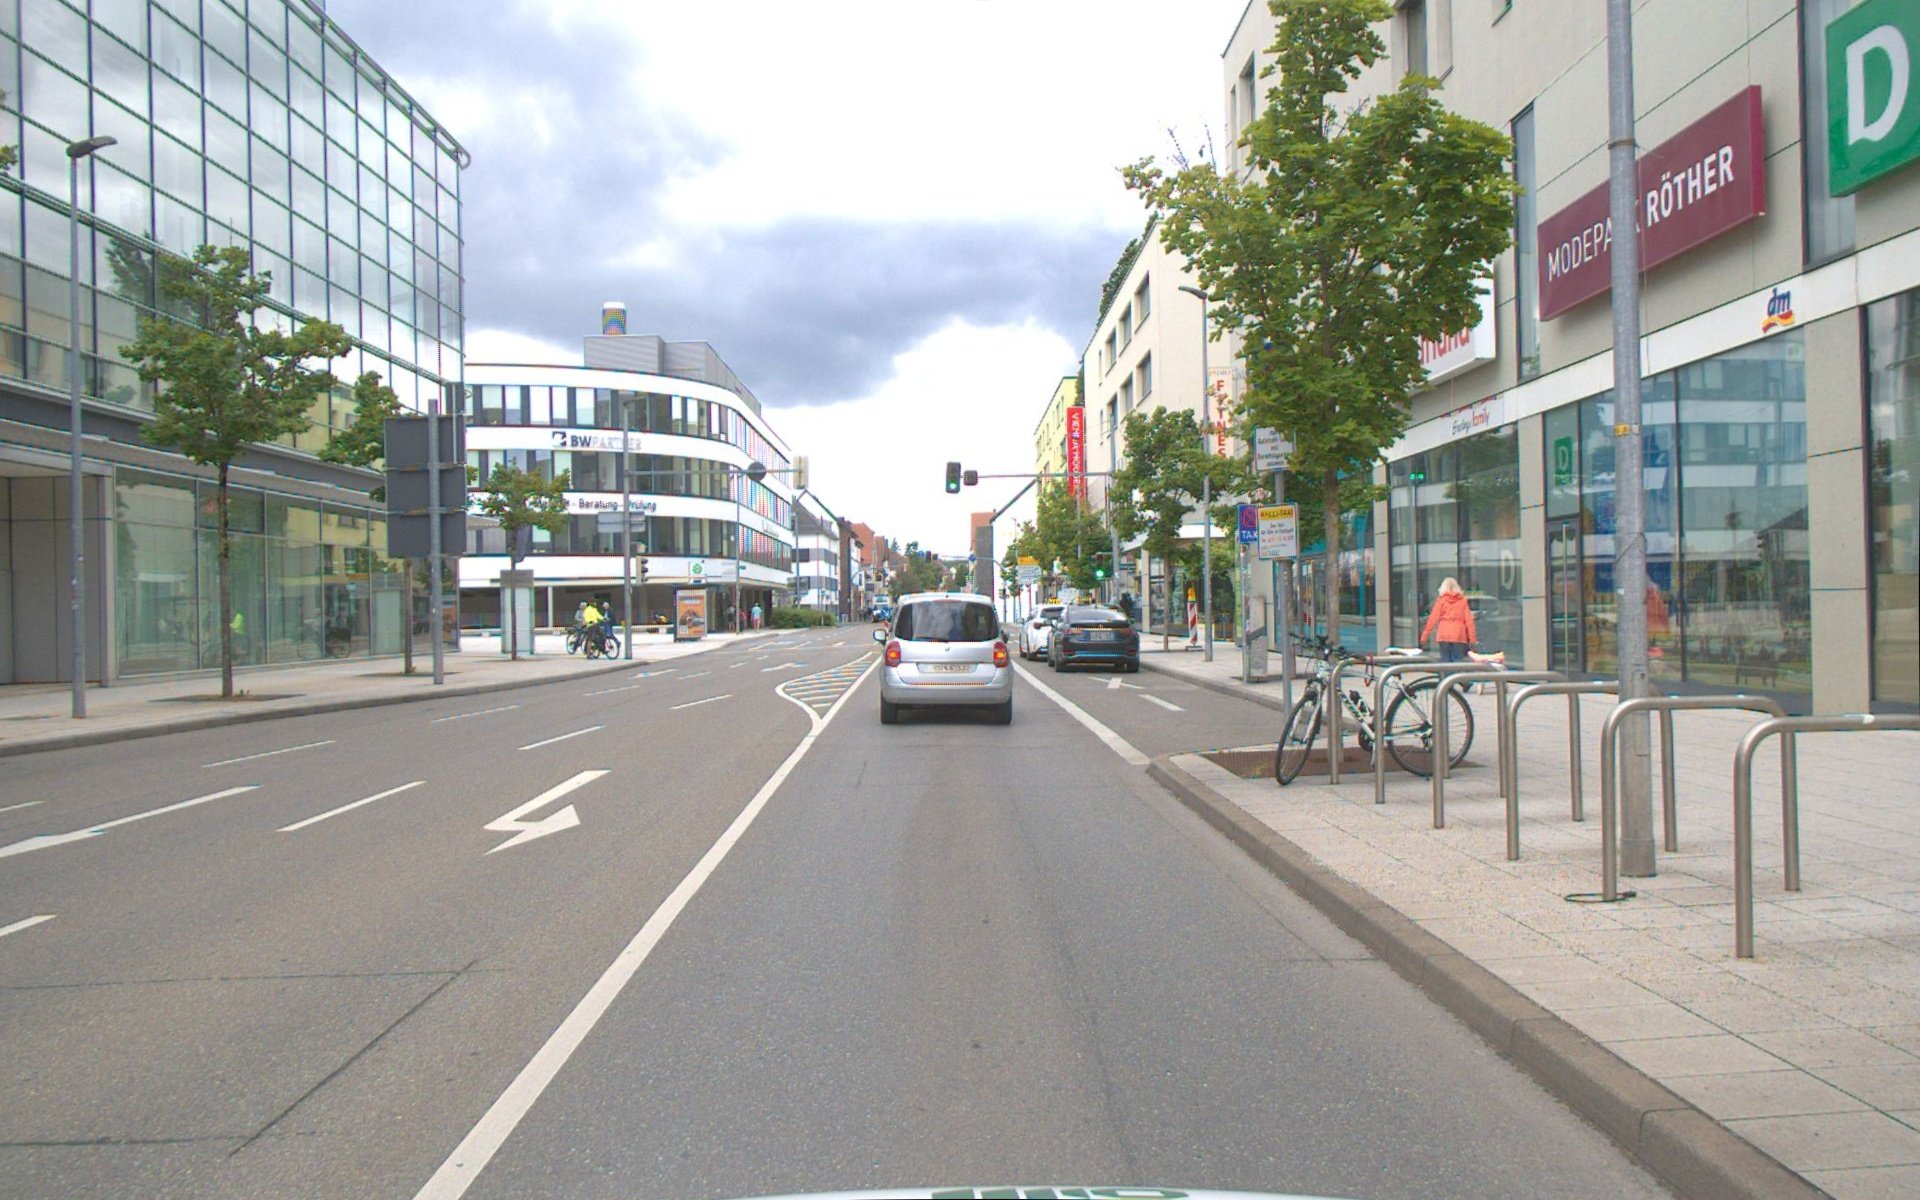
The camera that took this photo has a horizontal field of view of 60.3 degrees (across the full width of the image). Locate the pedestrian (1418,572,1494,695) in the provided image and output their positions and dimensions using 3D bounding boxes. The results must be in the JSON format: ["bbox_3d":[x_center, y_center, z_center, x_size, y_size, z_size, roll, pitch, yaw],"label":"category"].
[{"bbox_3d":[6.776,0.453,22.629,0.696,1.602,0.812,-4,0,-1],"label":"pedestrian"}]

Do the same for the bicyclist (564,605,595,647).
[{"bbox_3d":[-12.518,0.863,54.381,0.820,1.350,0.644,-1,0,-34],"label":"bicyclist"}]

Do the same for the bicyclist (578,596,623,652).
[{"bbox_3d":[-11.002,0.746,50.653,1.000,1.689,0.919,2,-1,-41],"label":"bicyclist"}]

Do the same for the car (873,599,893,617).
[{"bbox_3d":[-9.101,0.893,196.041,2.126,2.049,4.257,-1,0,-1],"label":"car"}]

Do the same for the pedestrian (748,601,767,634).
[{"bbox_3d":[-11.804,1.029,96.583,0.941,1.865,1.250,-1,0,-1],"label":"pedestrian"}]

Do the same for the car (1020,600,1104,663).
[{"bbox_3d":[2.600,0.778,43.015,1.839,1.535,3.999,1,0,-1],"label":"car"}]

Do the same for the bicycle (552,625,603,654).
[{"bbox_3d":[-12.645,1.297,54.576,0.819,0.914,2.496,-1,0,-33],"label":"bicycle"}]

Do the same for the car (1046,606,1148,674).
[{"bbox_3d":[2.974,0.843,36.603,1.839,1.358,3.999,1,0,-1],"label":"car"}]

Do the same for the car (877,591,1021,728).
[{"bbox_3d":[-0.217,0.699,21.345,1.636,1.581,3.639,1,0,-3],"label":"car"}]

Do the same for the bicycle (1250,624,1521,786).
[{"bbox_3d":[3.141,0.763,12.326,1.789,1.093,0.752,-2,0,-3],"label":"bicycle"}]

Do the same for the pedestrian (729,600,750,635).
[{"bbox_3d":[-11.840,0.942,88.889,0.941,1.865,1.250,-1,0,-1],"label":"pedestrian"}]

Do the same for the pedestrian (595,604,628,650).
[{"bbox_3d":[-14.381,1.113,68.197,1.223,1.865,0.962,-1,0,-8],"label":"pedestrian"}]

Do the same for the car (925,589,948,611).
[{"bbox_3d":[-2.190,0.010,155.324,2.126,2.049,4.257,-1,0,-1],"label":"car"}]

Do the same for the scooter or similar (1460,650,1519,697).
[{"bbox_3d":[6.978,0.963,21.817,0.539,0.555,0.642,-4,0,-1],"label":"scooter or similar"}]

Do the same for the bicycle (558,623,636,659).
[{"bbox_3d":[-11.167,1.254,50.821,1.000,1.036,3.083,2,-1,-41],"label":"bicycle"}]
